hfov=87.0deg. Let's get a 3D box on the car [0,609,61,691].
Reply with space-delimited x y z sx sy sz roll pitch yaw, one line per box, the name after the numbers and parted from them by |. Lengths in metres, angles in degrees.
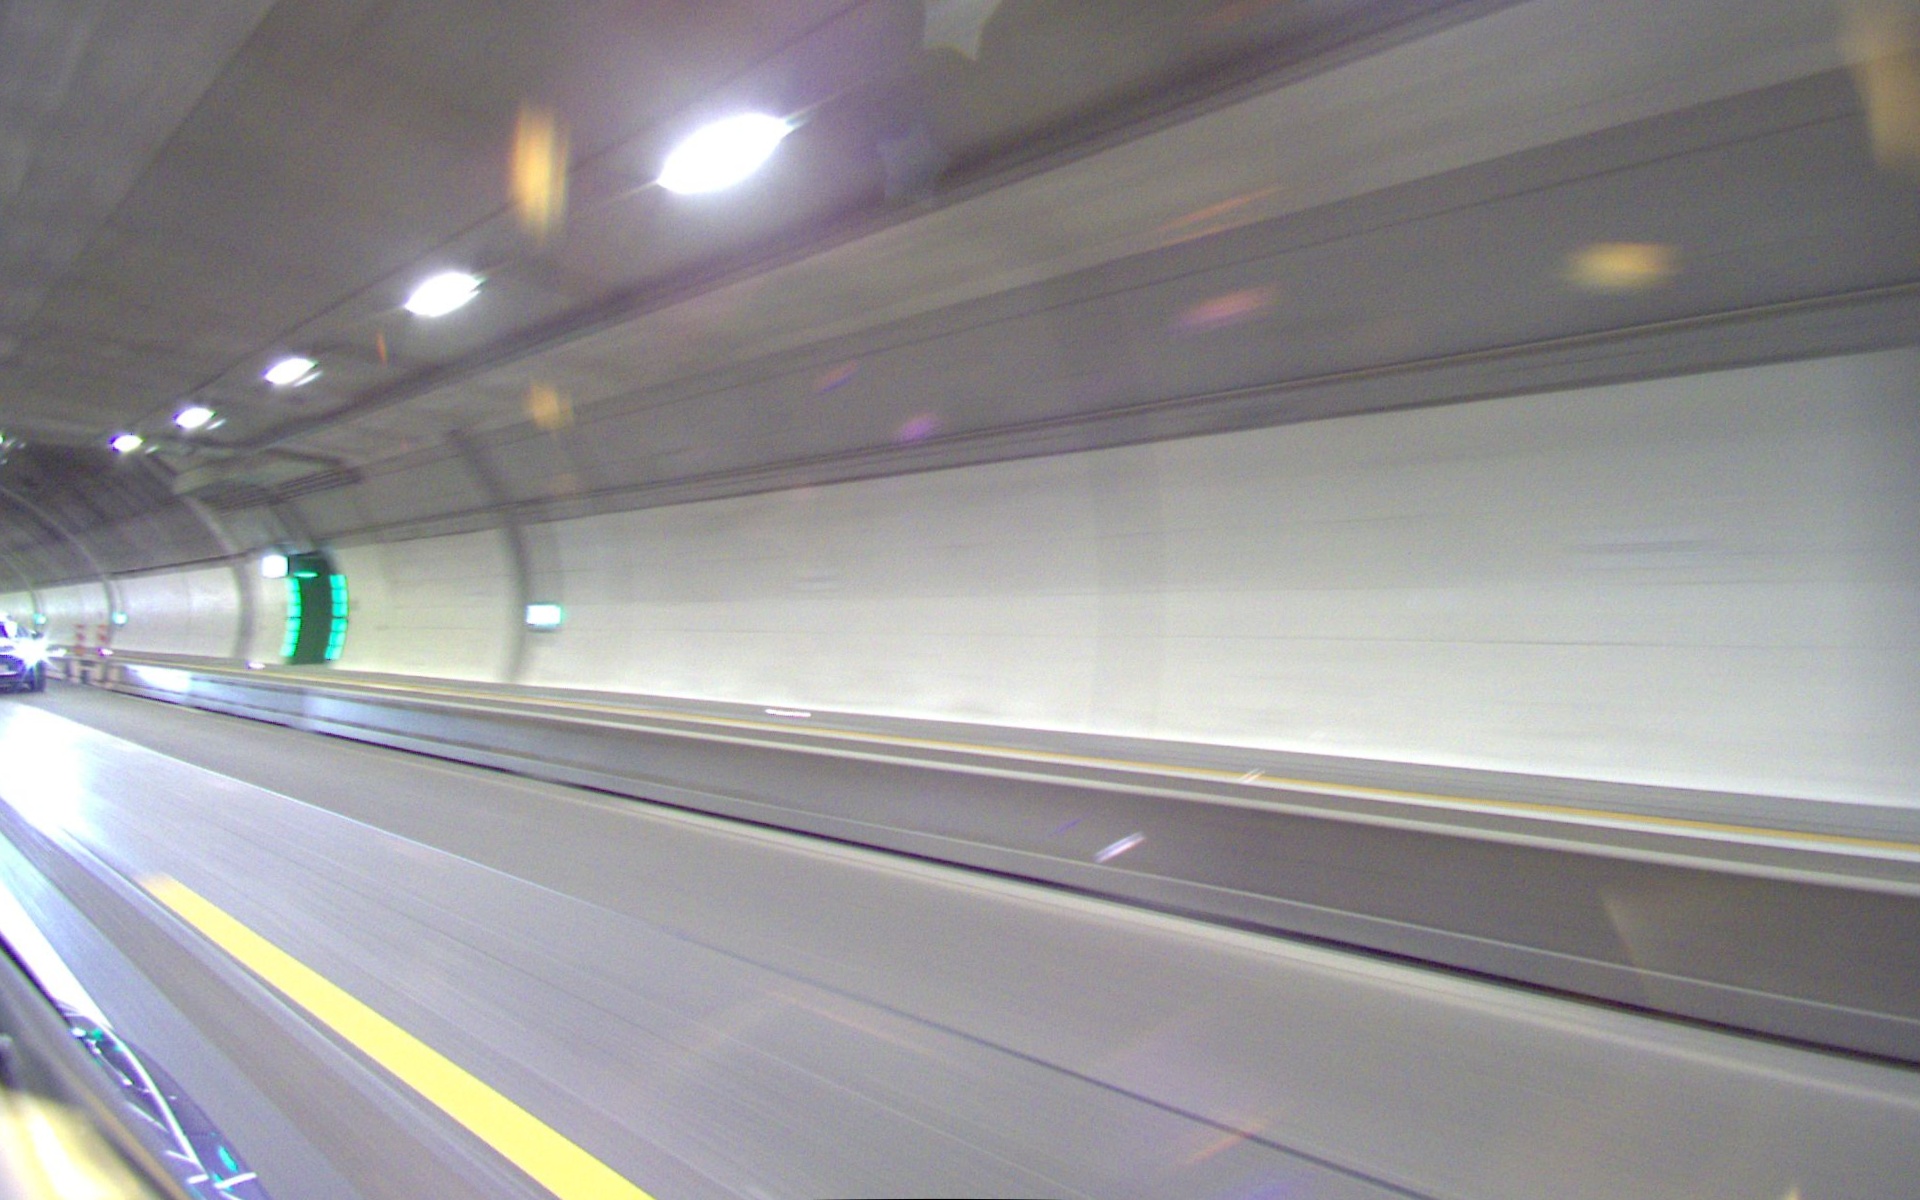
-20.182 0.984 20.855 4.741 1.552 1.972 -1 -1 42 | car
